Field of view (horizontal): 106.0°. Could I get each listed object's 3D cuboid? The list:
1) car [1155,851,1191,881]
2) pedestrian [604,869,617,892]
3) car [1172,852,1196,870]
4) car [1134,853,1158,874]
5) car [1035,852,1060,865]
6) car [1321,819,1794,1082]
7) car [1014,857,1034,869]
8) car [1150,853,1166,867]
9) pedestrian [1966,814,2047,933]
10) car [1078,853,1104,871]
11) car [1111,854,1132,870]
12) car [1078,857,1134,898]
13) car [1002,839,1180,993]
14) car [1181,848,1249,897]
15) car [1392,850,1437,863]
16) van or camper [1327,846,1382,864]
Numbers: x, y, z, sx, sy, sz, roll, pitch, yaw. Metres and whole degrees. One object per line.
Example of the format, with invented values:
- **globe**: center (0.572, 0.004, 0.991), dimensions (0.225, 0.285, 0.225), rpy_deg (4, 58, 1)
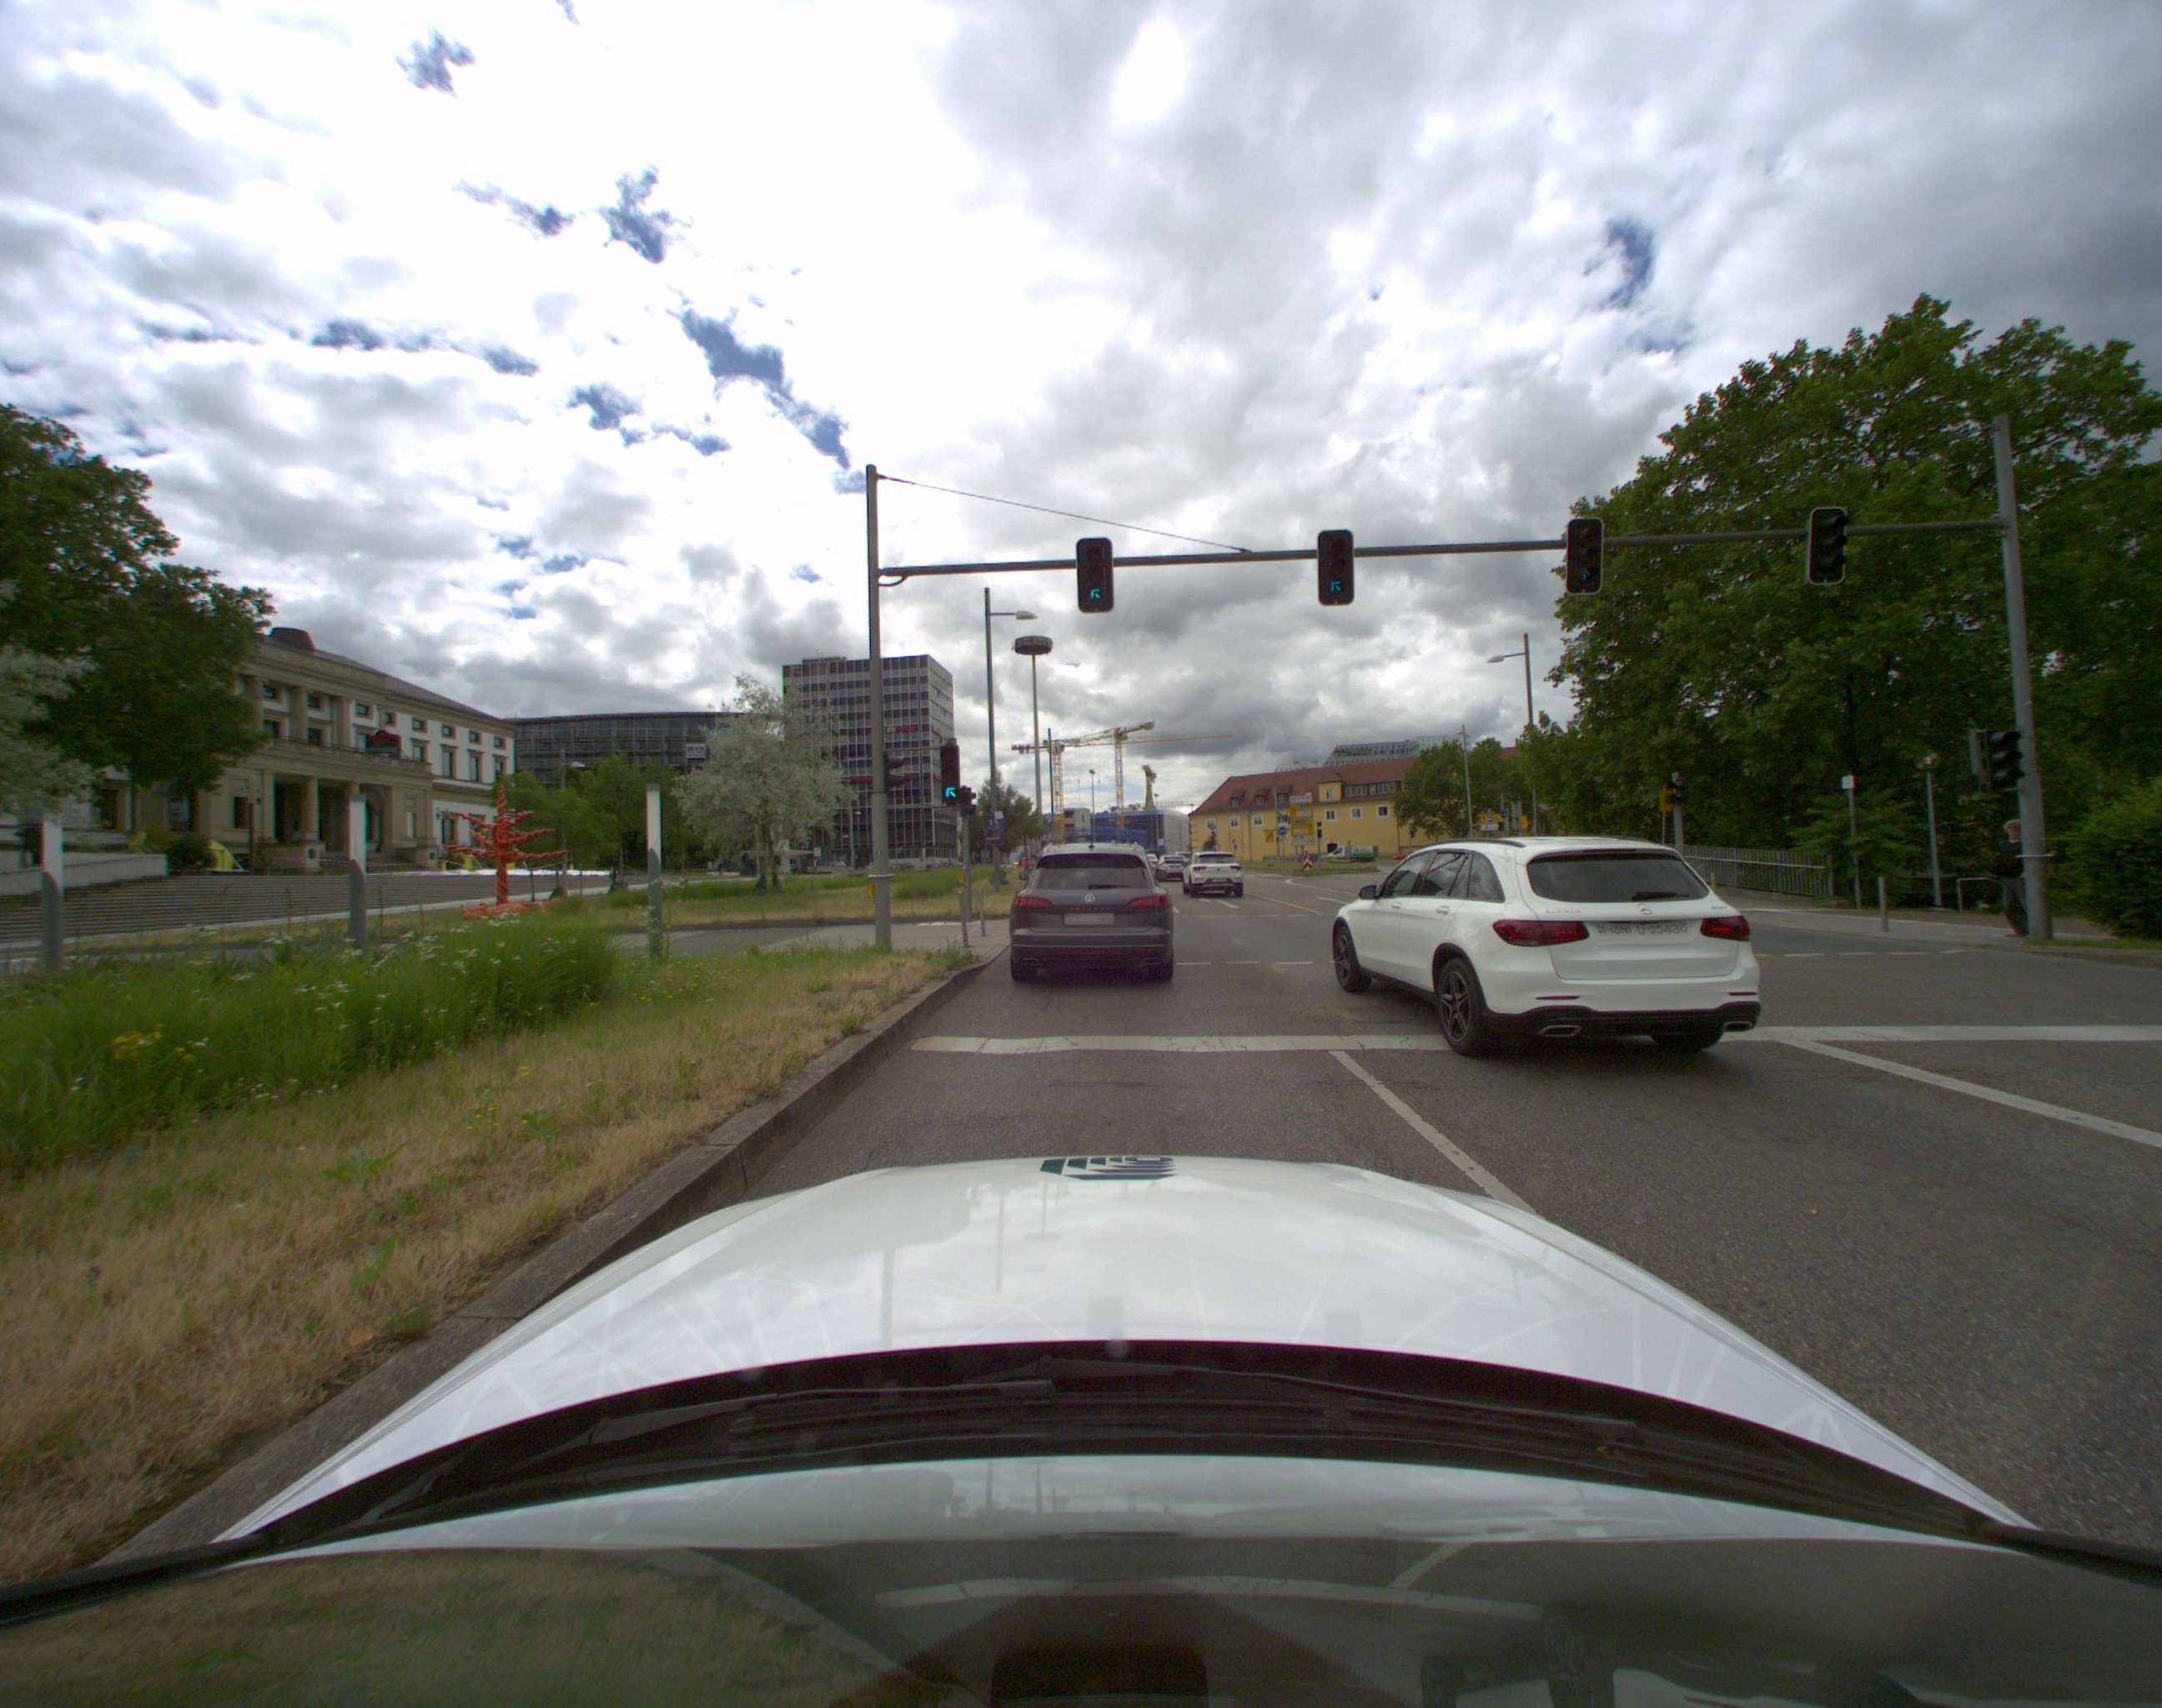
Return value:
- **car**: center (4.978, 0.609, 44.570), dimensions (1.711, 1.502, 4.147), rpy_deg (-1, 0, 3)
- **pedestrian**: center (-34.321, 1.933, 59.436), dimensions (0.522, 1.649, 0.651), rpy_deg (-1, -1, 0)
- **car**: center (8.883, 0.586, 70.317), dimensions (1.795, 1.502, 3.984), rpy_deg (-1, 0, 3)
- **car**: center (4.863, 0.701, 60.937), dimensions (1.710, 1.502, 3.987), rpy_deg (-1, 0, 5)
- **car**: center (-4.126, 0.572, 99.698), dimensions (2.248, 1.502, 4.590), rpy_deg (-1, 0, -14)
- **car**: center (3.706, 0.615, 7.428), dimensions (1.812, 1.647, 4.380), rpy_deg (-1, 0, 1)
- **car**: center (-7.751, 1.215, 110.499), dimensions (1.725, 1.502, 3.953), rpy_deg (-1, 0, -21)
- **car**: center (8.960, 0.686, 95.268), dimensions (1.711, 1.502, 3.984), rpy_deg (-1, 0, 3)
- **pedestrian**: center (14.171, 0.297, 12.487), dimensions (0.477, 1.764, 0.620), rpy_deg (-1, -1, -1)
- **car**: center (0.906, 0.725, 74.966), dimensions (1.812, 1.496, 3.897), rpy_deg (-1, 0, -7)
- **car**: center (3.944, 0.782, 80.389), dimensions (1.808, 1.496, 3.905), rpy_deg (-2, 0, 0)
- **car**: center (0.963, 0.848, 31.085), dimensions (1.986, 1.387, 4.002), rpy_deg (-2, 0, 2)
- **car**: center (0.176, 0.677, 10.944), dimensions (1.925, 1.647, 4.002), rpy_deg (-1, 0, 2)
- **car**: center (4.652, 0.612, 28.705), dimensions (1.886, 1.585, 3.803), rpy_deg (-1, 0, 2)
- **car**: center (39.103, 0.299, 95.584), dimensions (4.632, 1.420, 1.607), rpy_deg (-2, -1, 34)
- **van or camper**: center (33.422, 0.077, 99.695), dimensions (5.946, 2.014, 2.032), rpy_deg (-2, -1, 37)
